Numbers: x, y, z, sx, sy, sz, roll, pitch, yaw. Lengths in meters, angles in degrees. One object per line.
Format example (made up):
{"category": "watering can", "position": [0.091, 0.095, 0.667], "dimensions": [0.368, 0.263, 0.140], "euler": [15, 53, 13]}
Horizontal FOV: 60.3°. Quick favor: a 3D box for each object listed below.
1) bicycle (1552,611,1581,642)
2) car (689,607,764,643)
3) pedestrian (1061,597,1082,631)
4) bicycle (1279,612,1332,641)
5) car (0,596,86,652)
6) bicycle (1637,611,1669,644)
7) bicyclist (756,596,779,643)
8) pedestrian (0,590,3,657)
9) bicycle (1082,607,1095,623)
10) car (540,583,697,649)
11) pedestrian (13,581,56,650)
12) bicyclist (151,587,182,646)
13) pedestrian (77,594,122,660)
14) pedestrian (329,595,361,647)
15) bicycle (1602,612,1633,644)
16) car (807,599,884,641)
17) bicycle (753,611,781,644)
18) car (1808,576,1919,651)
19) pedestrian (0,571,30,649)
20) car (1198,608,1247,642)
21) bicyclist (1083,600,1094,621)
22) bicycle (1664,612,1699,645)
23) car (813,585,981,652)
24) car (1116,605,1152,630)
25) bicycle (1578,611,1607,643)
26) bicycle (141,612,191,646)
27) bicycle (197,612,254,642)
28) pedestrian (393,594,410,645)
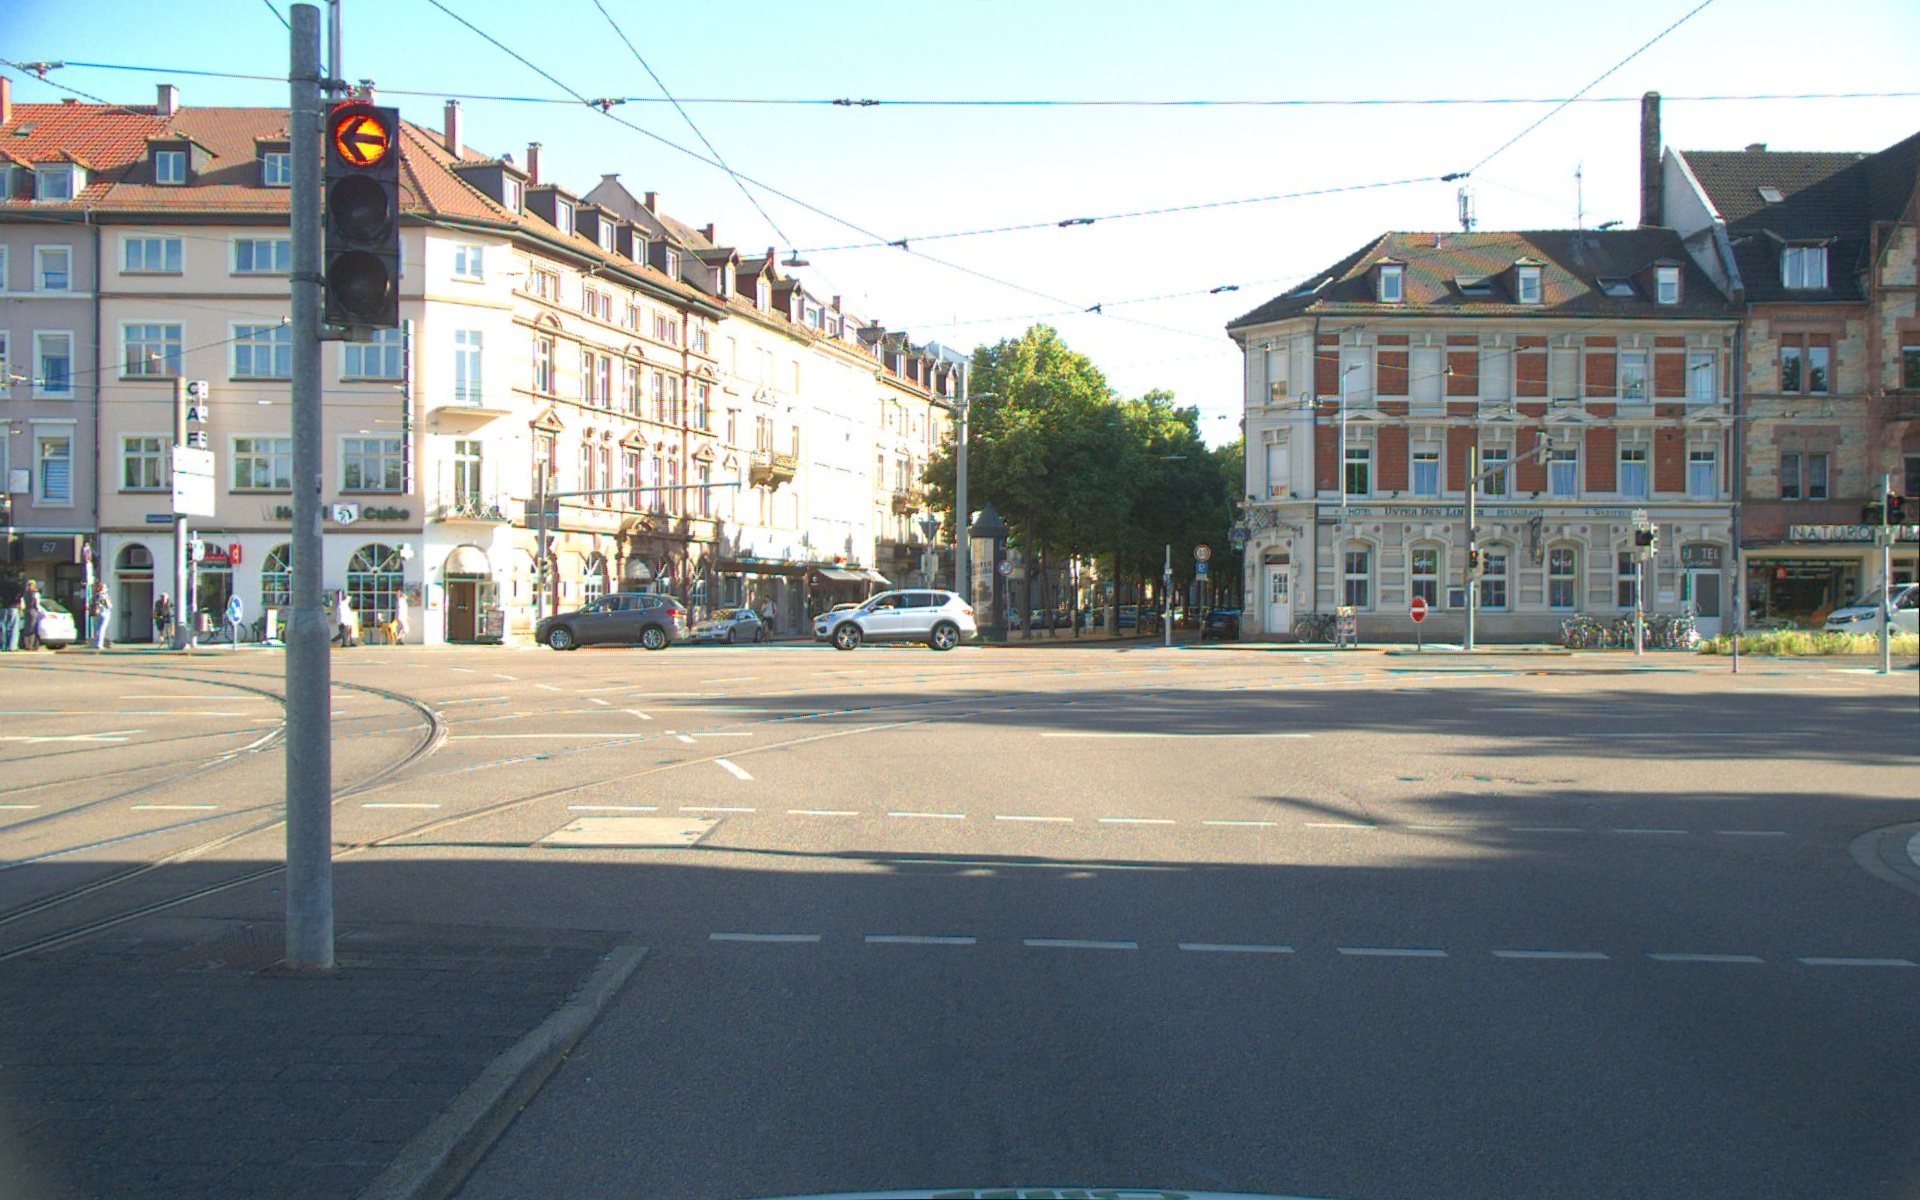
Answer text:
{"category": "bicycle", "position": [19.808, 0.861, 54.035], "dimensions": [0.749, 0.979, 2.211], "euler": [1, 0, 17]}
{"category": "car", "position": [-9.425, 0.992, 67.028], "dimensions": [1.624, 1.398, 3.894], "euler": [1, 0, 14]}
{"category": "pedestrian", "position": [6.782, 0.852, 100.690], "dimensions": [0.952, 2.049, 0.908], "euler": [1, -1, -32]}
{"category": "bicycle", "position": [11.979, 0.908, 57.288], "dimensions": [1.764, 0.979, 0.604], "euler": [1, 0, 14]}
{"category": "car", "position": [-25.669, 0.610, 44.184], "dimensions": [3.713, 1.427, 1.698], "euler": [1, 0, -3]}
{"category": "bicycle", "position": [22.459, 0.893, 53.631], "dimensions": [0.749, 1.025, 2.221], "euler": [1, 0, 17]}
{"category": "bicyclist", "position": [-7.561, 0.776, 64.956], "dimensions": [0.553, 1.835, 0.915], "euler": [1, -1, 14]}
{"category": "pedestrian", "position": [-24.299, 0.573, 41.098], "dimensions": [0.561, 1.677, 0.727], "euler": [1, -1, -1]}
{"category": "bicycle", "position": [10.214, 1.196, 131.581], "dimensions": [0.659, 1.228, 1.822], "euler": [1, 0, 17]}
{"category": "car", "position": [-9.831, 0.470, 47.875], "dimensions": [4.142, 1.805, 1.818], "euler": [1, 0, -2]}
{"category": "pedestrian", "position": [-22.944, 0.376, 41.028], "dimensions": [0.571, 1.677, 0.840], "euler": [1, -1, -1]}
{"category": "bicyclist", "position": [-24.893, 0.507, 51.913], "dimensions": [0.608, 1.822, 0.615], "euler": [1, -1, 4]}
{"category": "pedestrian", "position": [-21.303, 0.669, 40.970], "dimensions": [0.655, 1.622, 0.815], "euler": [1, -1, -1]}
{"category": "pedestrian", "position": [-19.969, 0.683, 53.696], "dimensions": [0.556, 1.671, 0.792], "euler": [1, -1, 22]}
{"category": "bicycle", "position": [21.341, 0.887, 53.705], "dimensions": [0.749, 1.001, 2.211], "euler": [1, 0, 17]}
{"category": "car", "position": [-4.615, 0.810, 67.194], "dimensions": [1.764, 1.613, 4.162], "euler": [1, 0, 16]}
{"category": "bicycle", "position": [-7.558, 1.059, 64.946], "dimensions": [0.553, 1.276, 1.558], "euler": [1, 0, 14]}
{"category": "car", "position": [24.980, 0.352, 42.763], "dimensions": [5.093, 1.886, 2.000], "euler": [0, 0, -1]}
{"category": "pedestrian", "position": [-22.955, 0.241, 39.993], "dimensions": [0.516, 1.854, 0.676], "euler": [1, -1, -1]}
{"category": "car", "position": [13.137, 1.238, 82.677], "dimensions": [1.719, 1.583, 4.001], "euler": [1, 0, 20]}
{"category": "bicyclist", "position": [10.219, 0.842, 131.587], "dimensions": [0.659, 1.595, 0.748], "euler": [1, -1, 17]}
{"category": "bicycle", "position": [23.322, 0.907, 53.494], "dimensions": [0.775, 1.033, 2.211], "euler": [1, 0, 17]}
{"category": "car", "position": [-1.810, 0.524, 46.805], "dimensions": [4.588, 1.764, 1.832], "euler": [1, 0, -9]}
{"category": "car", "position": [12.323, 1.232, 116.779], "dimensions": [1.951, 1.713, 4.003], "euler": [1, 0, 15]}
{"category": "bicycle", "position": [20.562, 0.874, 53.798], "dimensions": [0.749, 0.985, 2.211], "euler": [1, 0, 17]}
{"category": "bicycle", "position": [-24.898, 0.906, 51.896], "dimensions": [0.608, 1.048, 1.755], "euler": [1, 0, 4]}
{"category": "bicycle", "position": [-25.096, 0.919, 56.505], "dimensions": [1.666, 1.000, 0.611], "euler": [1, 0, -1]}
{"category": "pedestrian", "position": [-18.848, 0.642, 55.847], "dimensions": [0.489, 1.705, 0.586], "euler": [1, -1, -18]}
